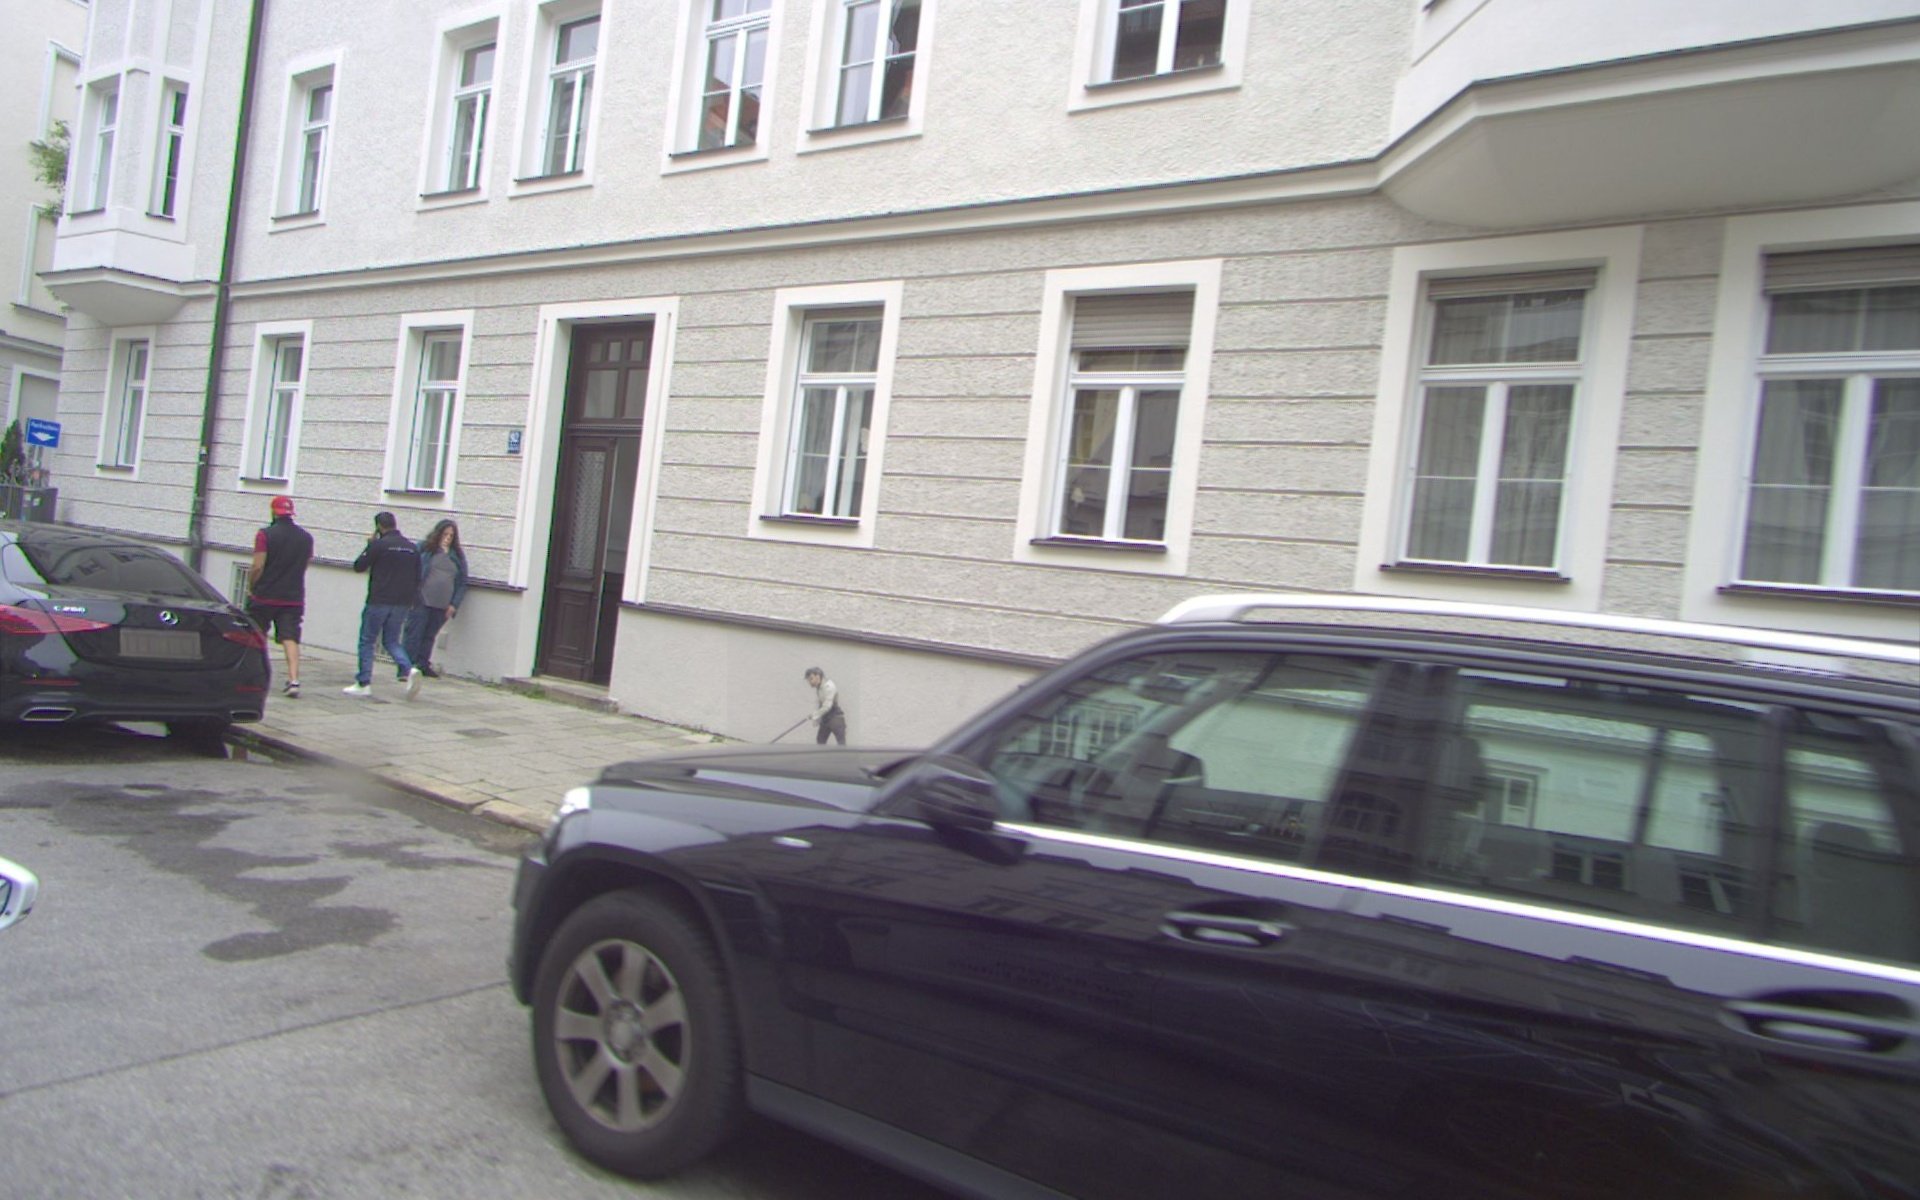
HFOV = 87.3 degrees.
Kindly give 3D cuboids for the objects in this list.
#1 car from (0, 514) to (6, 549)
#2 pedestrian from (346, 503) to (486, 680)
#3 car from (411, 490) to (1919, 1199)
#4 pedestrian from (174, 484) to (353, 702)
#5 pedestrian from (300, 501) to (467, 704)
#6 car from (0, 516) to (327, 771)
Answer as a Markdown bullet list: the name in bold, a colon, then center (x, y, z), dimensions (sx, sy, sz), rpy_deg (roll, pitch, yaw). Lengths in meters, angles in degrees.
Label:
- **car**: center (-11.742, -0.422, 10.149), dimensions (4.345, 1.502, 1.766), rpy_deg (7, -3, 30)
- **pedestrian**: center (-6.124, -0.111, 11.328), dimensions (1.092, 1.838, 0.883), rpy_deg (7, 4, 30)
- **car**: center (0.762, 0.831, 2.681), dimensions (4.117, 1.693, 1.806), rpy_deg (7, -3, 29)
- **pedestrian**: center (-6.429, -0.068, 9.296), dimensions (1.092, 1.835, 0.884), rpy_deg (7, 2, 30)
- **pedestrian**: center (-5.636, 0.015, 9.844), dimensions (1.092, 1.810, 0.884), rpy_deg (7, 2, 30)
- **car**: center (-7.304, 0.094, 7.600), dimensions (4.885, 1.415, 1.843), rpy_deg (7, -2, 26)
